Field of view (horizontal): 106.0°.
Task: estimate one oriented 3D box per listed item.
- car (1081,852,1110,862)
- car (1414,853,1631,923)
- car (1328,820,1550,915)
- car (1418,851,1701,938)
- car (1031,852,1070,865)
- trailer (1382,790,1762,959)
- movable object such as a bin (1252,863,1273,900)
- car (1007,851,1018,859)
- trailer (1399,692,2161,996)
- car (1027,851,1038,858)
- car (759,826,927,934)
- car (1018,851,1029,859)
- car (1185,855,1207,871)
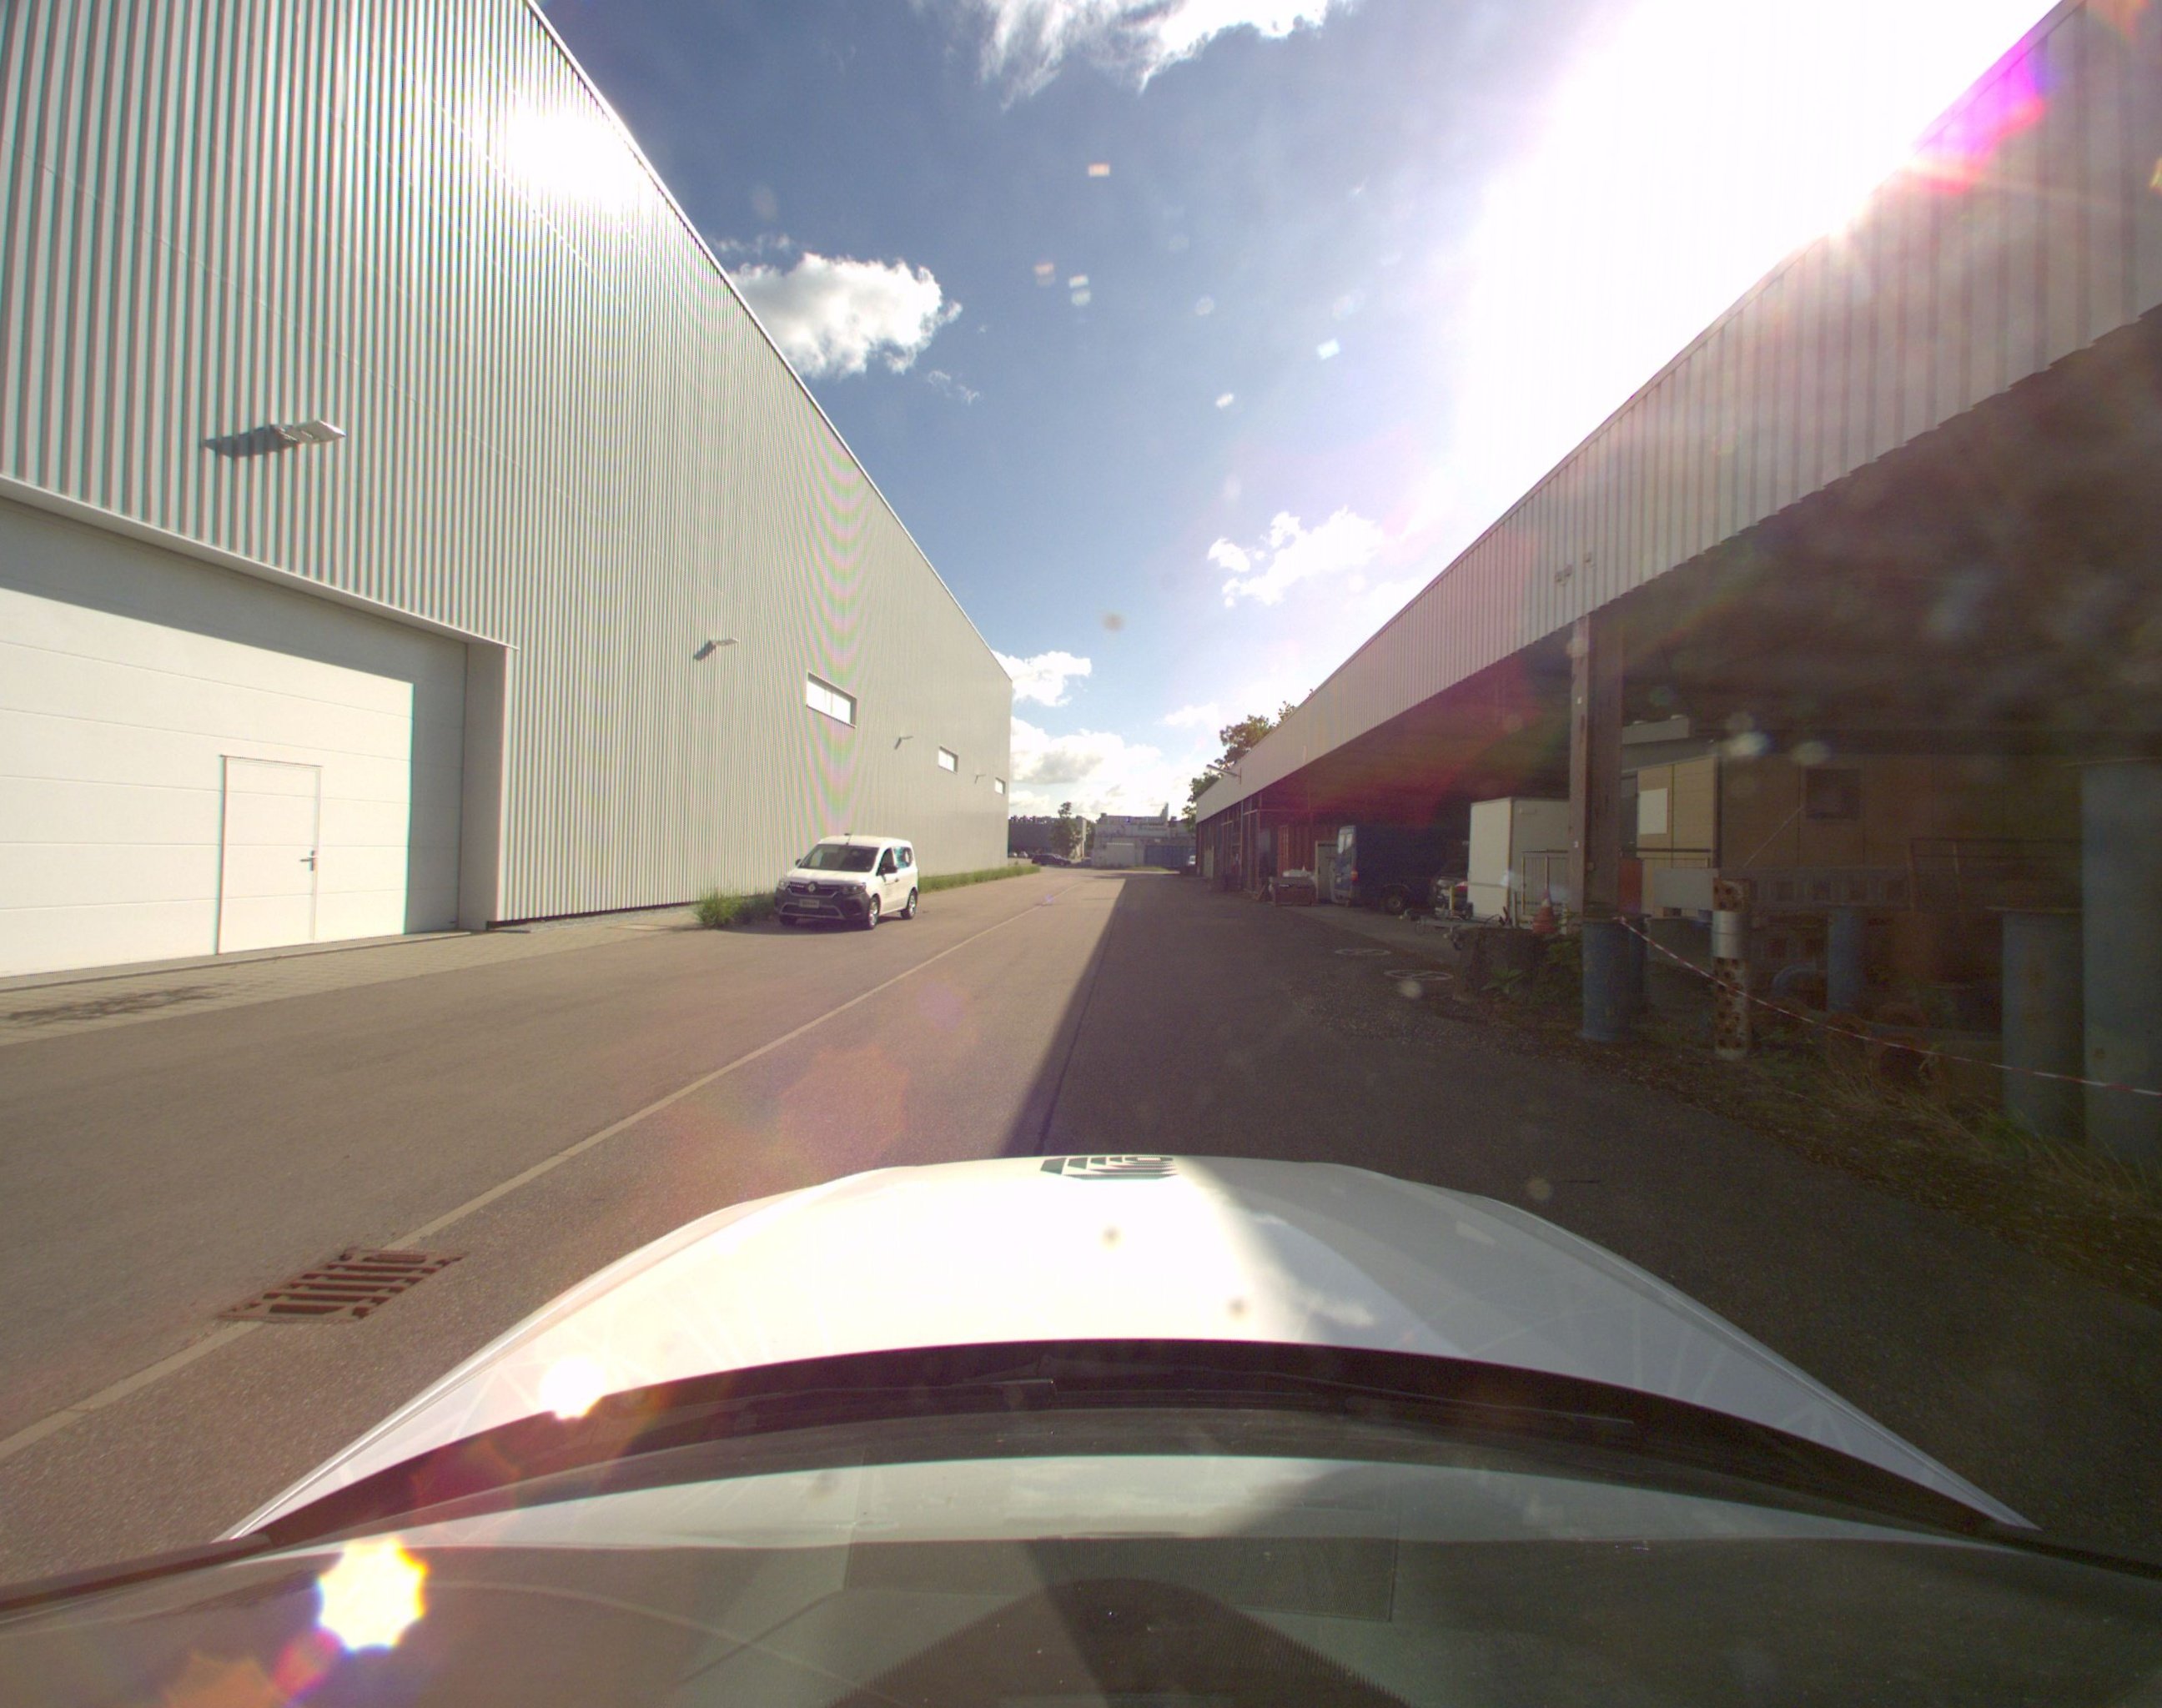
[{"bbox_3d":[2.268,0.433,126.572,4.505,1.508,1.911,1,0,4],"label":"car"},{"bbox_3d":[9.882,0.737,18.442,3.975,1.472,1.787,0,0,-1],"label":"car"},{"bbox_3d":[9.276,0.327,21.445,4.957,2.325,2.002,1,0,3],"label":"car"},{"bbox_3d":[8.871,0.718,15.357,4.313,1.496,1.777,0,0,1],"label":"car"},{"bbox_3d":[-3.648,0.577,99.212,4.504,1.508,1.911,0,0,5],"label":"car"},{"bbox_3d":[7.425,0.271,12.784,4.785,2.391,1.831,0,0,8],"label":"trailer"},{"bbox_3d":[6.088,0.908,27.295,0.578,1.164,1.241,0,0,8],"label":"movable object such as a bin"},{"bbox_3d":[-16.547,0.276,196.866,1.985,1.736,4.003,-1,-1,3],"label":"car"},{"bbox_3d":[9.505,-0.121,10.132,9.995,3.216,2.856,0,0,3],"label":"trailer"},{"bbox_3d":[-11.521,0.158,195.242,2.184,1.736,4.003,-1,-1,3],"label":"car"},{"bbox_3d":[-4.724,0.469,16.908,1.882,1.845,4.362,3,0,3],"label":"car"},{"bbox_3d":[-13.953,0.225,197.079,2.184,1.736,4.003,-1,-1,3],"label":"car"},{"bbox_3d":[12.080,0.933,85.630,1.985,1.585,4.176,1,1,3],"label":"car"}]
